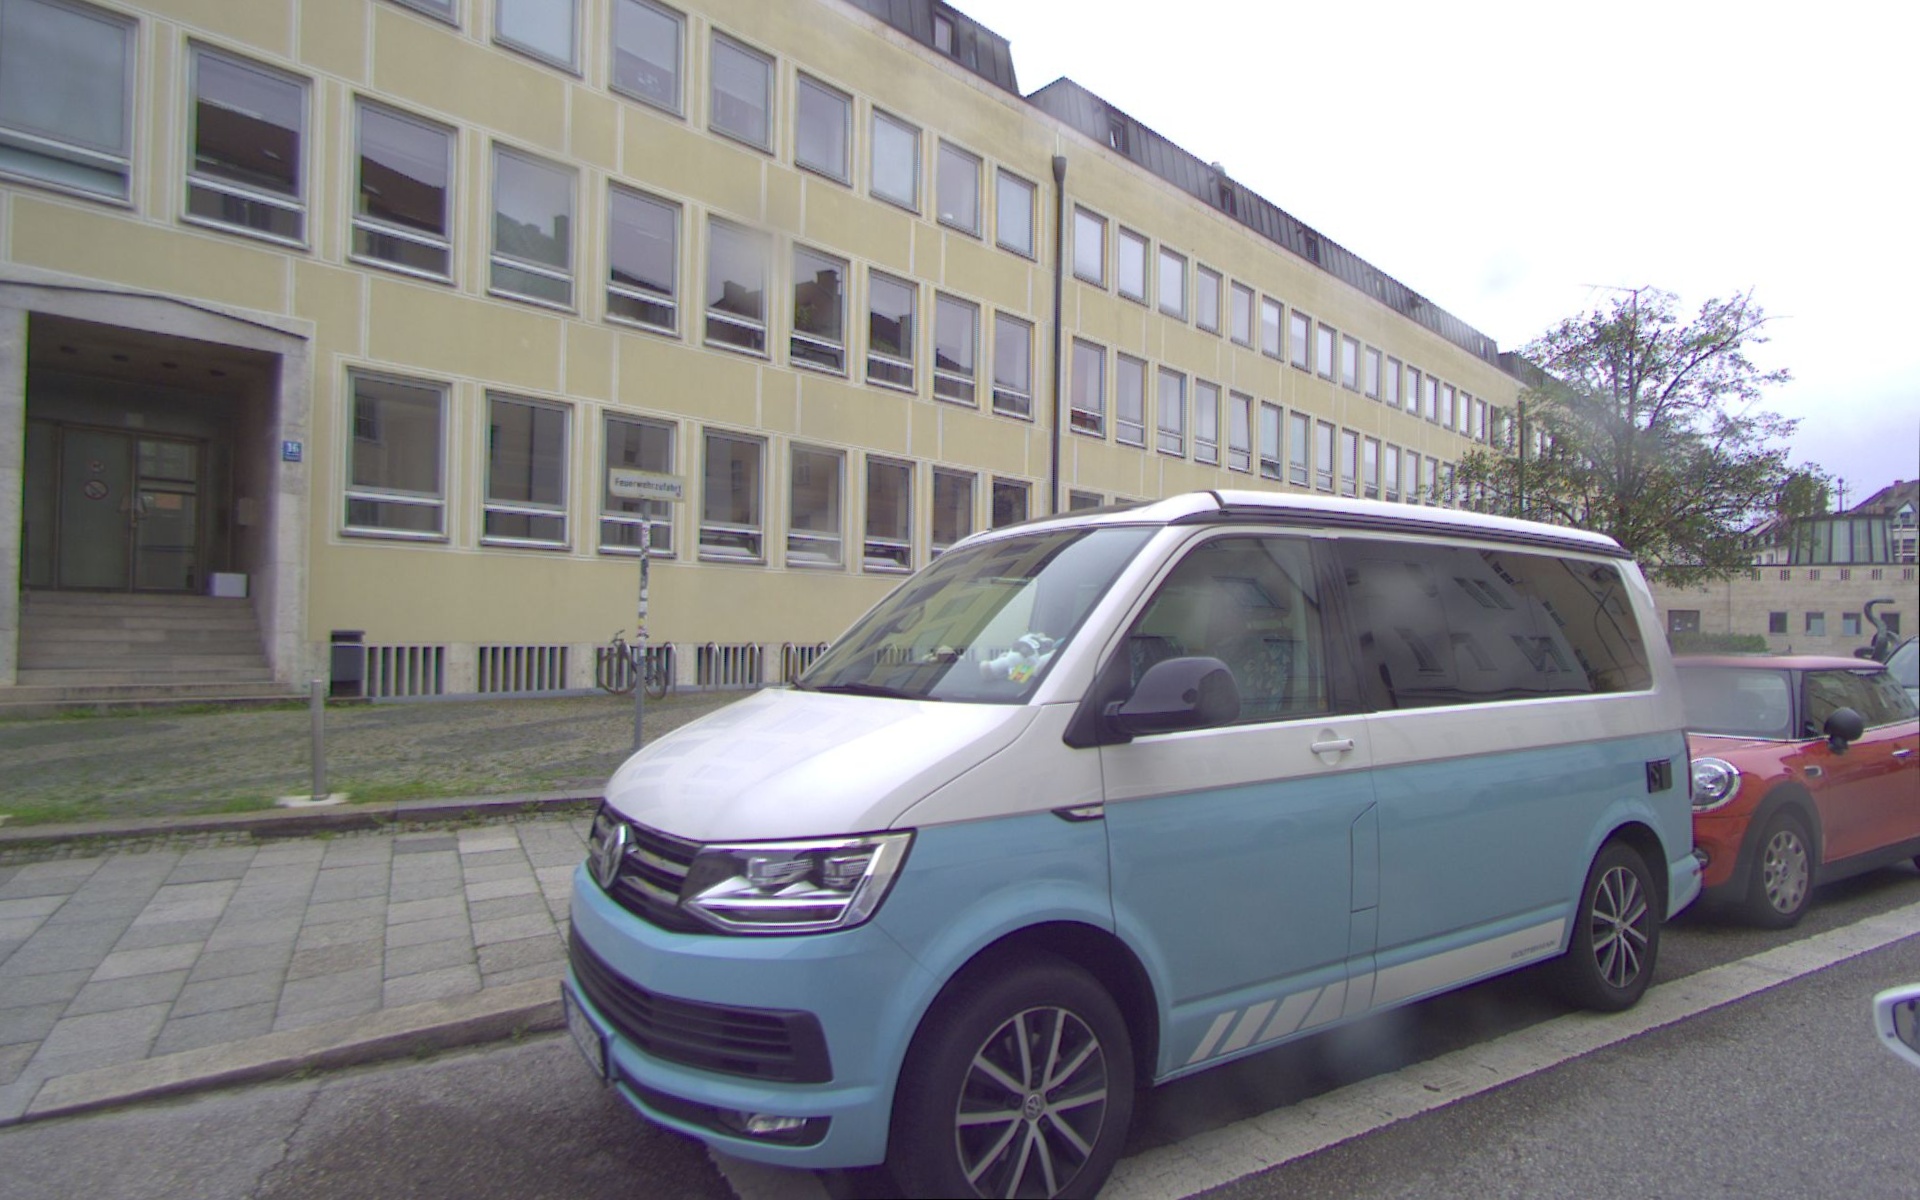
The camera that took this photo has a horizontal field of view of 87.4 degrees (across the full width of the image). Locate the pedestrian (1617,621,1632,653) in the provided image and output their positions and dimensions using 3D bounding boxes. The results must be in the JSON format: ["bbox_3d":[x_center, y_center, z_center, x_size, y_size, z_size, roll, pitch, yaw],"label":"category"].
[{"bbox_3d":[37.960,2.125,57.396,0.661,1.759,0.640,3,0,35],"label":"pedestrian"}]

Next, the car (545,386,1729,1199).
[{"bbox_3d":[0.951,0.662,3.994,4.551,1.957,1.873,2,-4,-33],"label":"car"}]

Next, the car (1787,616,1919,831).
[{"bbox_3d":[9.365,1.036,9.040,3.981,1.713,1.694,2,-4,-31],"label":"car"}]

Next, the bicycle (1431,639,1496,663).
[{"bbox_3d":[19.378,1.969,38.684,2.181,0.846,0.492,-1,-3,43],"label":"bicycle"}]

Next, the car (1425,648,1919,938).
[{"bbox_3d":[4.883,1.022,6.502,3.610,1.391,1.645,2,-4,-31],"label":"car"}]

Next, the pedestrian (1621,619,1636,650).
[{"bbox_3d":[38.765,1.970,58.246,0.590,1.759,0.663,3,0,30],"label":"pedestrian"}]

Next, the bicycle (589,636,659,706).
[{"bbox_3d":[-5.105,1.051,15.231,0.364,0.967,1.512,2,-1,-45],"label":"bicycle"}]
